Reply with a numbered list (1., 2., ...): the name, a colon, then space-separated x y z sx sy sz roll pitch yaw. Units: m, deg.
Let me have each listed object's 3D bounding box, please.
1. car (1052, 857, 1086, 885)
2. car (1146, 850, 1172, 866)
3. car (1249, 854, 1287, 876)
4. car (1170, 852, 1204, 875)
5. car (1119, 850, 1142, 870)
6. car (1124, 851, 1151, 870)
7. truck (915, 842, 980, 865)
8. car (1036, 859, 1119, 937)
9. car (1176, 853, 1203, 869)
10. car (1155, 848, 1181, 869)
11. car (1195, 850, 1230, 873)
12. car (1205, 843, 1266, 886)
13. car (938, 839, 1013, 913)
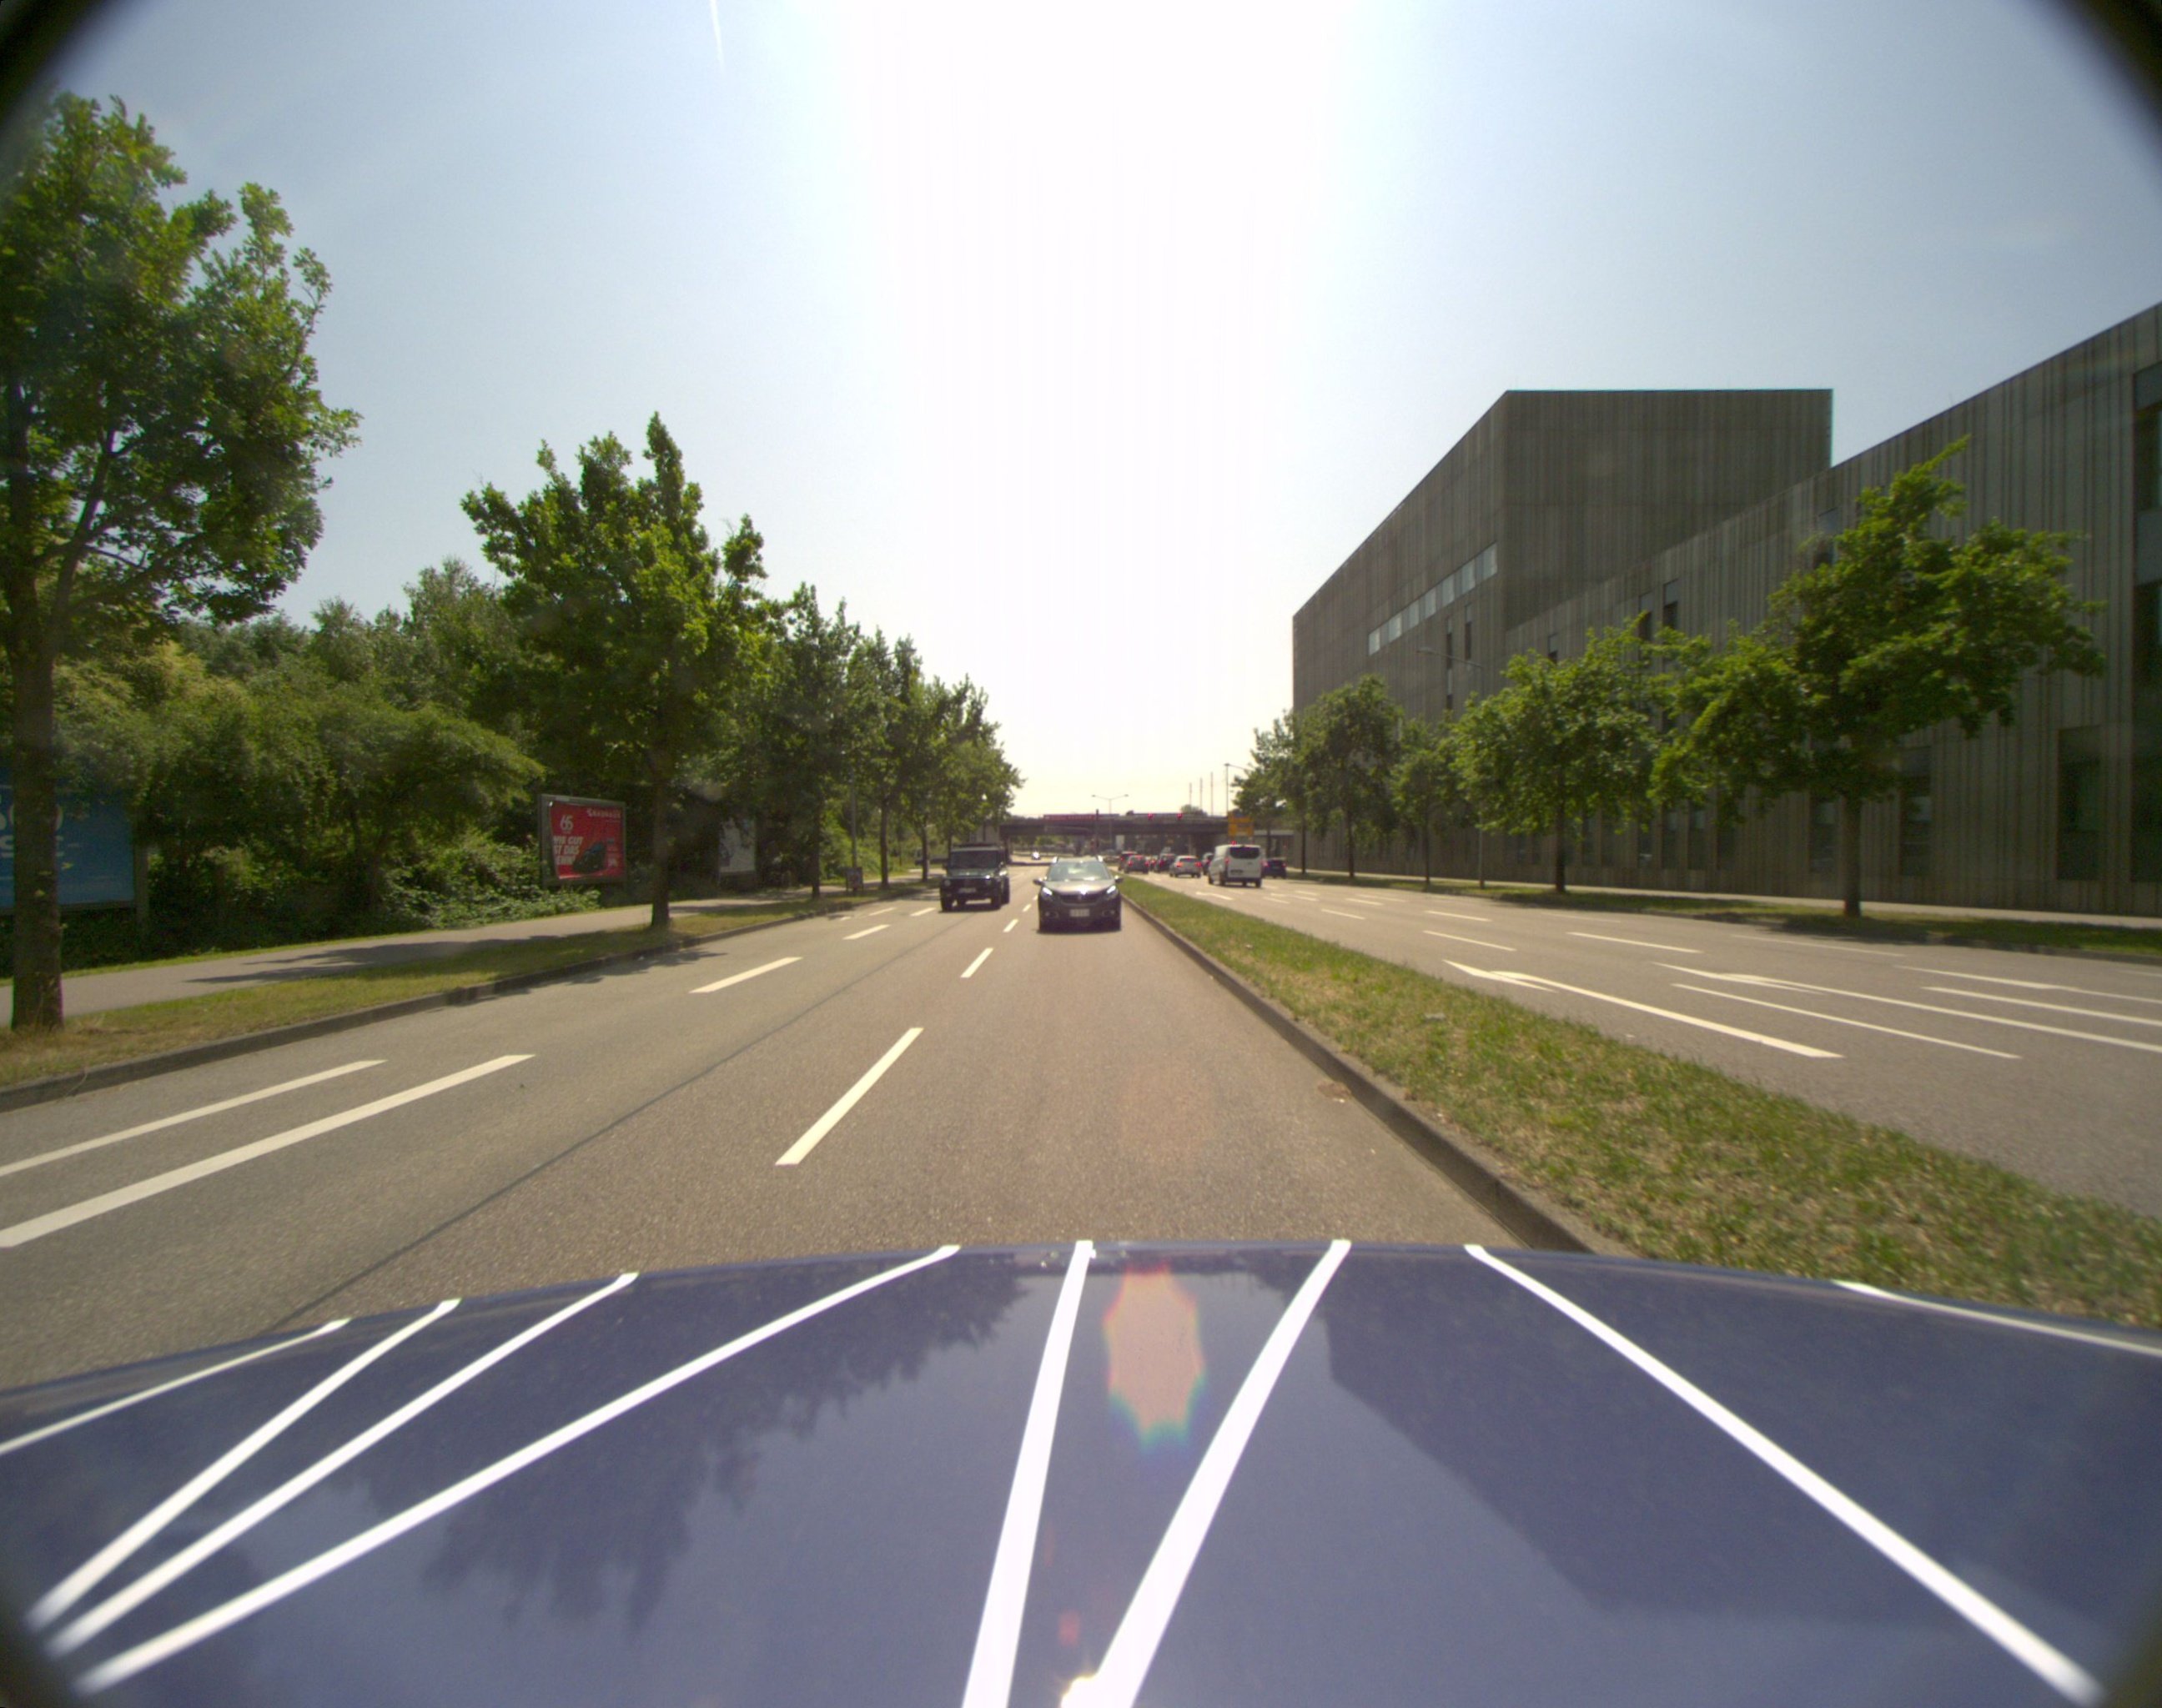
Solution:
1. car: -0.650 0.910 42.324 1.817 1.456 3.999 -1 0 0
2. car: 7.270 0.360 71.476 1.815 1.437 4.249 0 0 -2
3. car: 13.243 0.736 53.916 1.625 1.447 4.016 -1 0 -1
4. car: 7.325 0.627 52.874 1.770 1.452 4.144 1 0 0
5. car: 4.620 0.512 71.456 1.815 1.790 4.713 1 0 0
6. car: 4.494 0.508 61.227 1.815 1.458 4.057 1 0 -1
7. truck: -18.232 -0.064 103.926 8.517 2.899 2.885 -2 1 -10
8. car: 0.004 0.878 17.180 1.619 1.503 4.458 -1 0 2
9. car: 10.279 0.622 72.428 1.815 1.409 4.249 -1 0 -2
10. car: 7.380 0.362 64.599 1.807 1.653 4.573 1 0 2
11. car: 10.399 0.584 60.533 1.815 1.736 4.644 1 0 -2
12. car: 7.593 0.469 37.779 1.914 1.981 4.897 1 0 -1
13. car: -3.279 0.612 24.459 1.841 2.141 4.556 -1 1 -1
